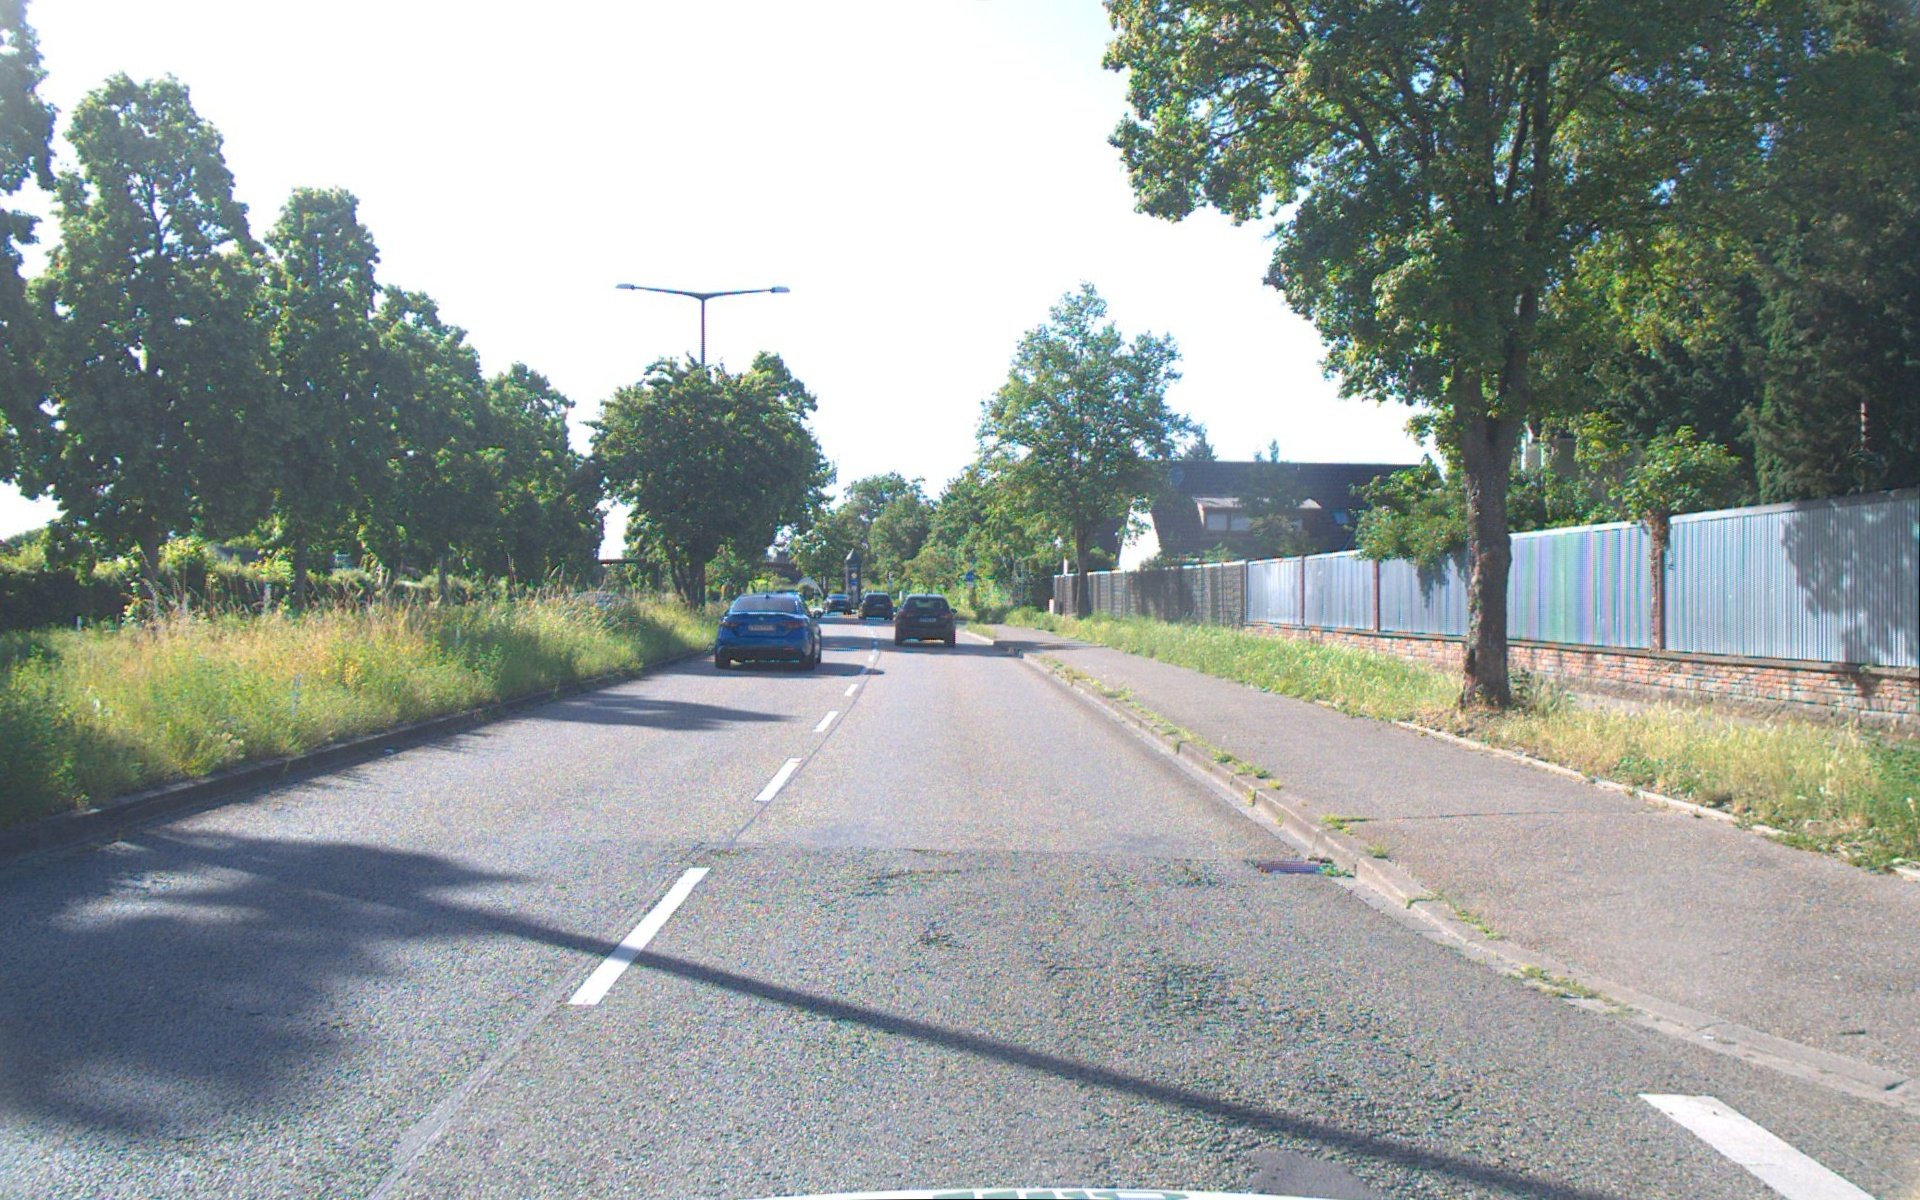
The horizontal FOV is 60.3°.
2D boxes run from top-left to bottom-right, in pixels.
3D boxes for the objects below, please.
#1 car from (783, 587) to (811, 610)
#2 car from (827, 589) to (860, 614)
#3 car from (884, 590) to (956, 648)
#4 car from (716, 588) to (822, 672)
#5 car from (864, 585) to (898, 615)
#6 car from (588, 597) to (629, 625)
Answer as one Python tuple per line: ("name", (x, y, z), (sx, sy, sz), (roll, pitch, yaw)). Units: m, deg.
("car", (-11.463, -0.105, 116.143), (1.878, 1.538, 4.064), (0, 0, -5))
("car", (-8.447, 0.116, 119.698), (1.881, 1.707, 4.001), (1, 0, -11))
("car", (-1.211, 0.523, 48.592), (1.878, 1.607, 4.178), (0, 0, -5))
("car", (-3.679, 0.581, 32.409), (1.802, 1.500, 4.181), (1, -1, -3))
("car", (-4.574, -0.002, 95.720), (1.877, 1.607, 4.179), (1, 0, -4))
("car", (-20.441, 0.642, 96.403), (1.636, 1.493, 4.177), (-2, 1, -3))
